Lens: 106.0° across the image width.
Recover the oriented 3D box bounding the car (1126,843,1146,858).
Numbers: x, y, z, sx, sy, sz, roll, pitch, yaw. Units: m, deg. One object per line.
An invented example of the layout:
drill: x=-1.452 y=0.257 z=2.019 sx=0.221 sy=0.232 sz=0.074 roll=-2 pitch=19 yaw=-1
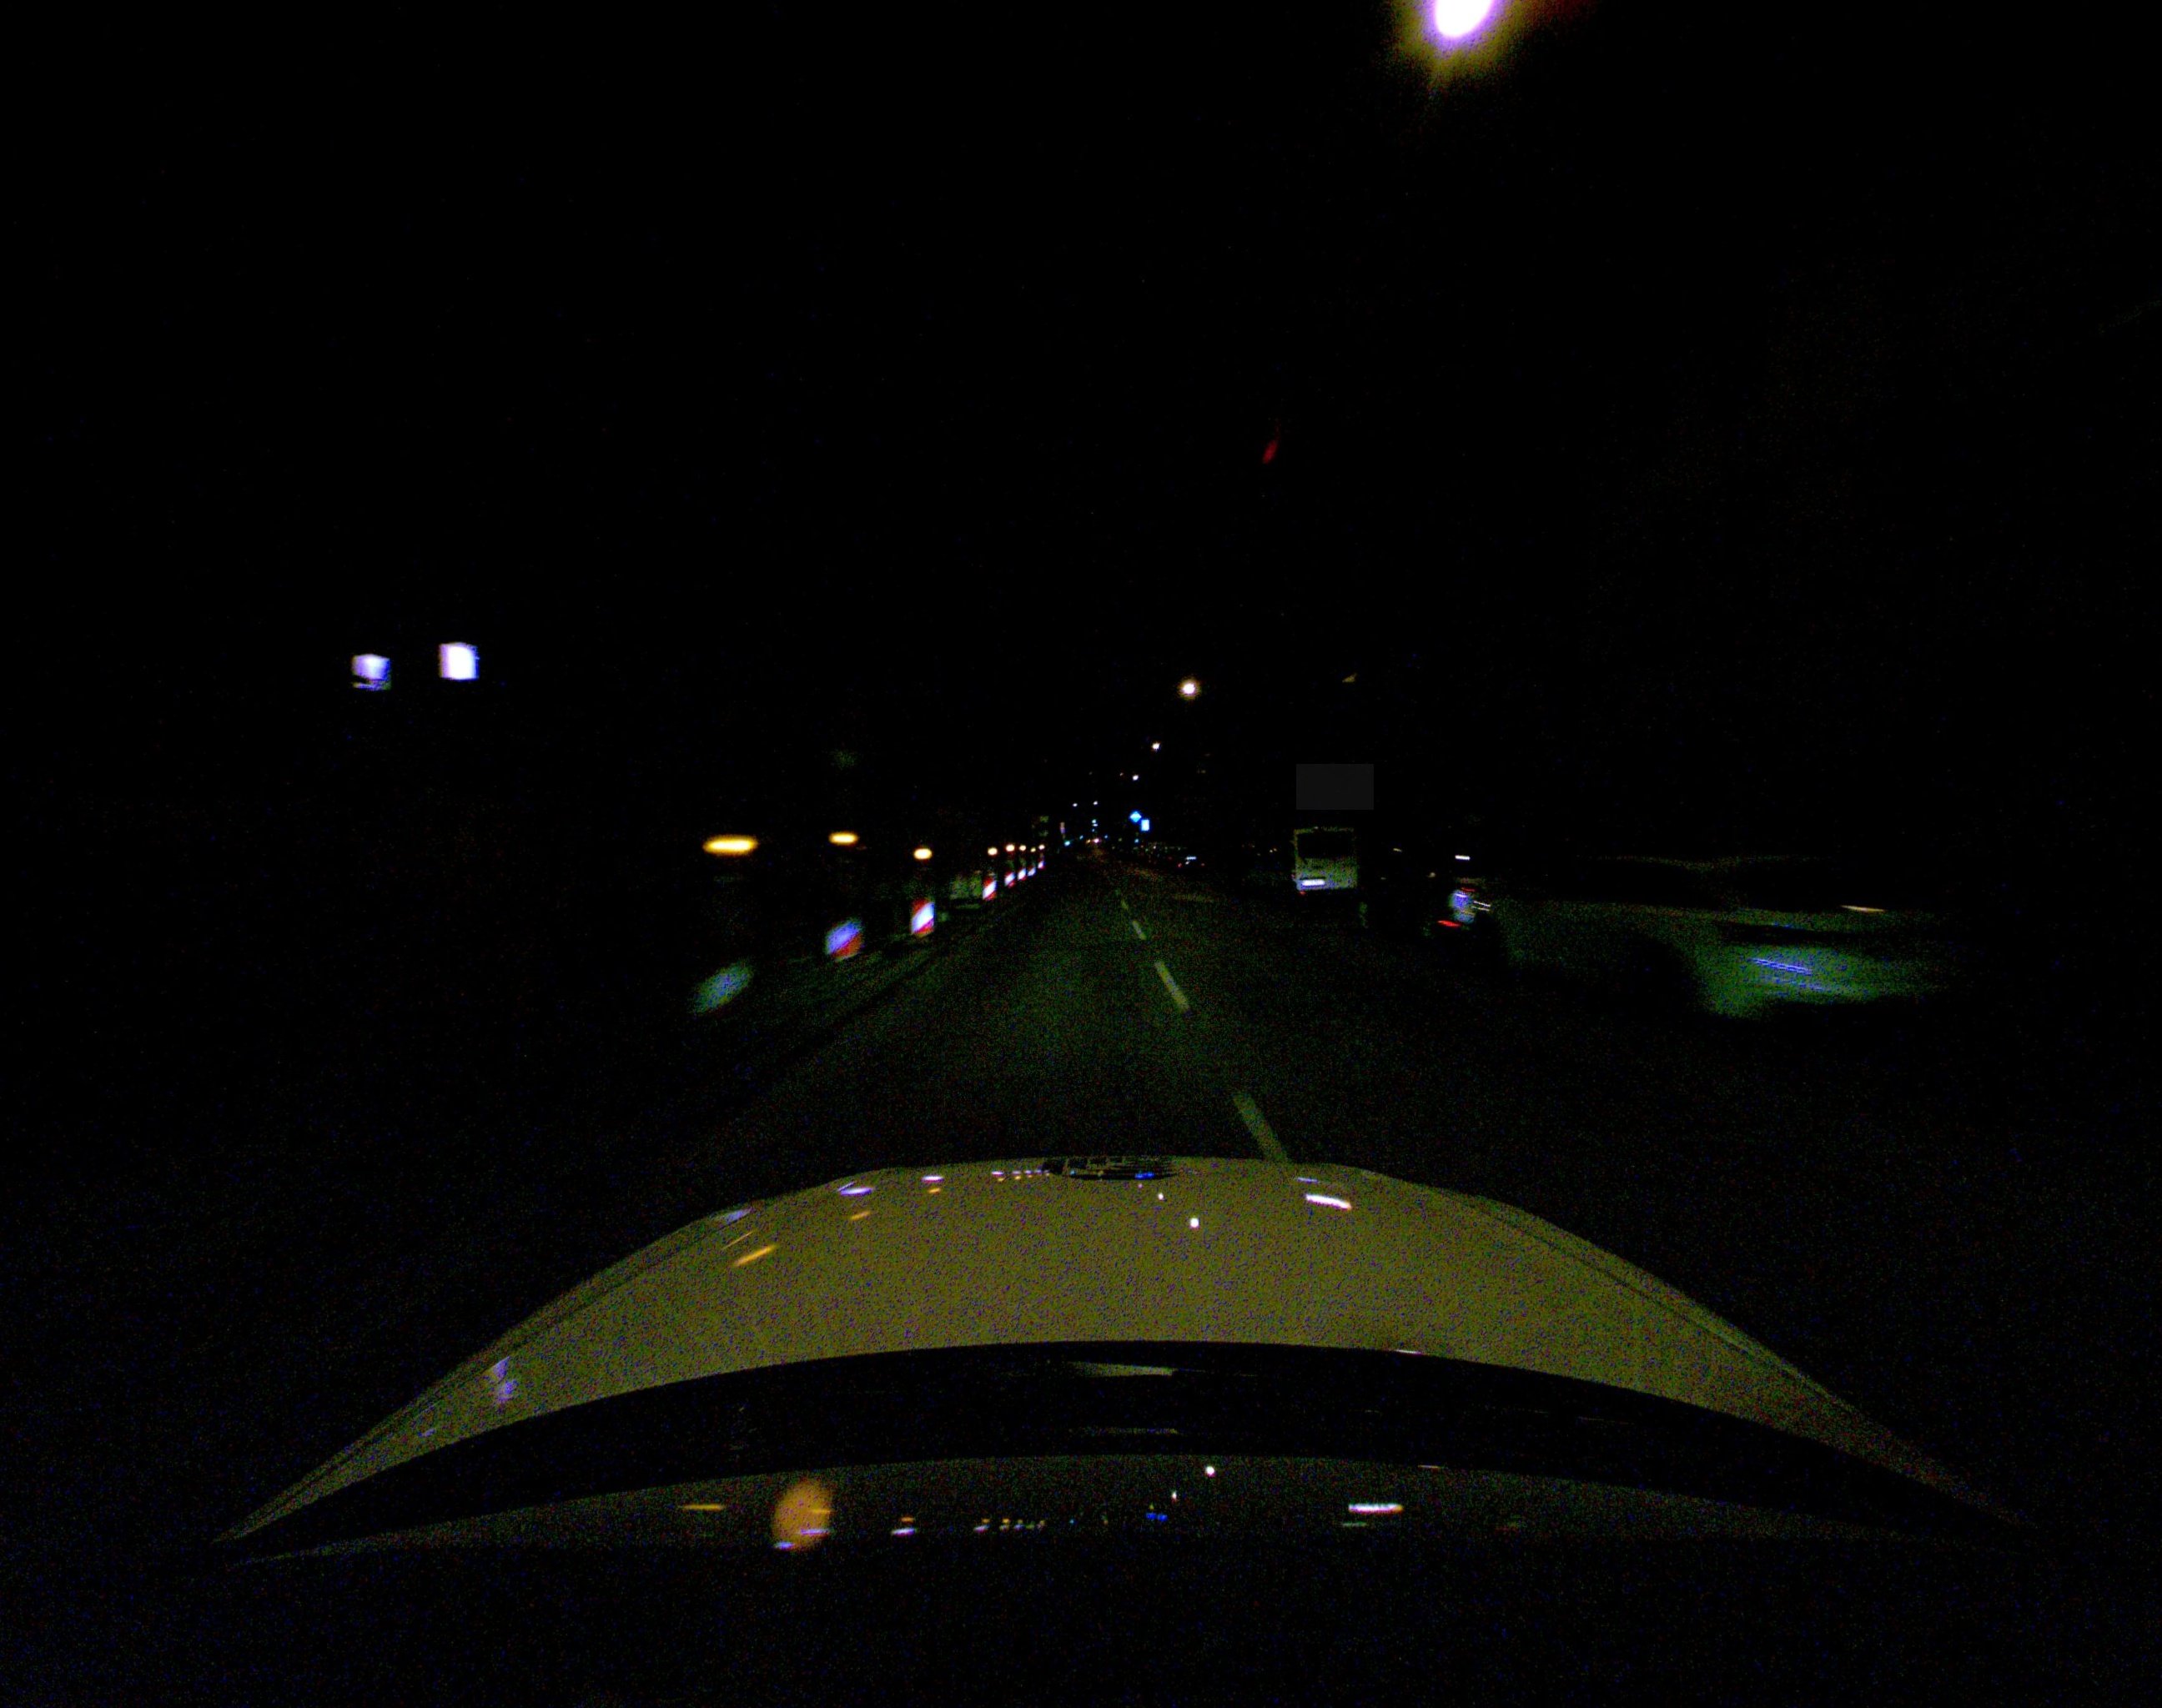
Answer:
car: x=6.064 y=-0.355 z=89.739 sx=1.770 sy=1.544 sz=4.543 roll=-1 pitch=0 yaw=-2

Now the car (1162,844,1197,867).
car: x=6.417 y=0.118 z=53.477 sx=1.773 sy=1.426 sz=3.891 roll=-1 pitch=0 yaw=0

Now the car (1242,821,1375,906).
car: x=5.945 y=0.220 z=22.095 sx=2.065 sy=1.928 sz=5.370 roll=-3 pitch=0 yaw=0

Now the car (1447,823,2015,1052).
car: x=5.611 y=0.575 z=8.080 sx=1.738 sy=1.508 sz=4.833 roll=-3 pitch=0 yaw=0

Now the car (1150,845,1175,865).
car: x=6.285 y=0.083 z=63.057 sx=1.589 sy=1.467 sz=3.892 roll=-1 pitch=0 yaw=1

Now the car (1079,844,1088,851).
car: x=0.490 y=-1.419 z=182.241 sx=1.987 sy=1.502 sz=4.000 roll=-1 pitch=0 yaw=1

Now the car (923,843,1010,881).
car: x=-5.823 y=0.409 z=41.657 sx=3.959 sy=1.889 sz=1.916 roll=-1 pitch=0 yaw=13

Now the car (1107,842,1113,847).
car: x=9.326 y=-3.021 z=259.963 sx=1.986 sy=1.520 sz=4.002 roll=-1 pitch=0 yaw=2

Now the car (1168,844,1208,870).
car: x=6.079 y=0.164 z=46.696 sx=1.772 sy=1.426 sz=4.482 roll=-1 pitch=0 yaw=2

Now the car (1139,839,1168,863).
car: x=6.097 y=-0.290 z=68.951 sx=1.796 sy=1.875 sz=4.770 roll=-3 pitch=1 yaw=-2

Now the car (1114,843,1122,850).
car: x=8.508 y=-1.694 z=187.613 sx=1.986 sy=1.520 sz=4.002 roll=-1 pitch=0 yaw=2

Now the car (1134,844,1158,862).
car: x=5.876 y=-0.112 z=73.710 sx=1.810 sy=1.427 sz=4.188 roll=-3 pitch=1 yaw=0

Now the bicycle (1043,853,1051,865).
bicycle: x=-3.208 y=0.456 z=76.155 sx=0.617 sy=1.051 sz=1.722 roll=-1 pitch=0 yaw=1

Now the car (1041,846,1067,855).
car: x=-4.603 y=-0.572 z=139.280 sx=4.424 sy=1.449 sz=2.000 roll=-1 pitch=0 yaw=0

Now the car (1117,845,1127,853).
car: x=8.294 y=-1.032 z=163.639 sx=1.986 sy=1.516 sz=4.003 roll=0 pitch=1 yaw=2

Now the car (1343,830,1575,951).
car: x=5.829 y=0.493 z=13.192 sx=1.738 sy=1.565 sz=4.210 roll=-3 pitch=0 yaw=0

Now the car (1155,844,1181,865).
car: x=6.253 y=0.017 z=58.834 sx=1.589 sy=1.467 sz=3.720 roll=-1 pitch=0 yaw=1

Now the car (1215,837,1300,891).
car: x=5.925 y=0.315 z=27.827 sx=1.814 sy=1.599 sz=4.218 roll=-4 pitch=0 yaw=-2

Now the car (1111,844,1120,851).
car: x=8.291 y=-1.537 z=194.722 sx=1.986 sy=1.520 sz=4.002 roll=-1 pitch=0 yaw=2
